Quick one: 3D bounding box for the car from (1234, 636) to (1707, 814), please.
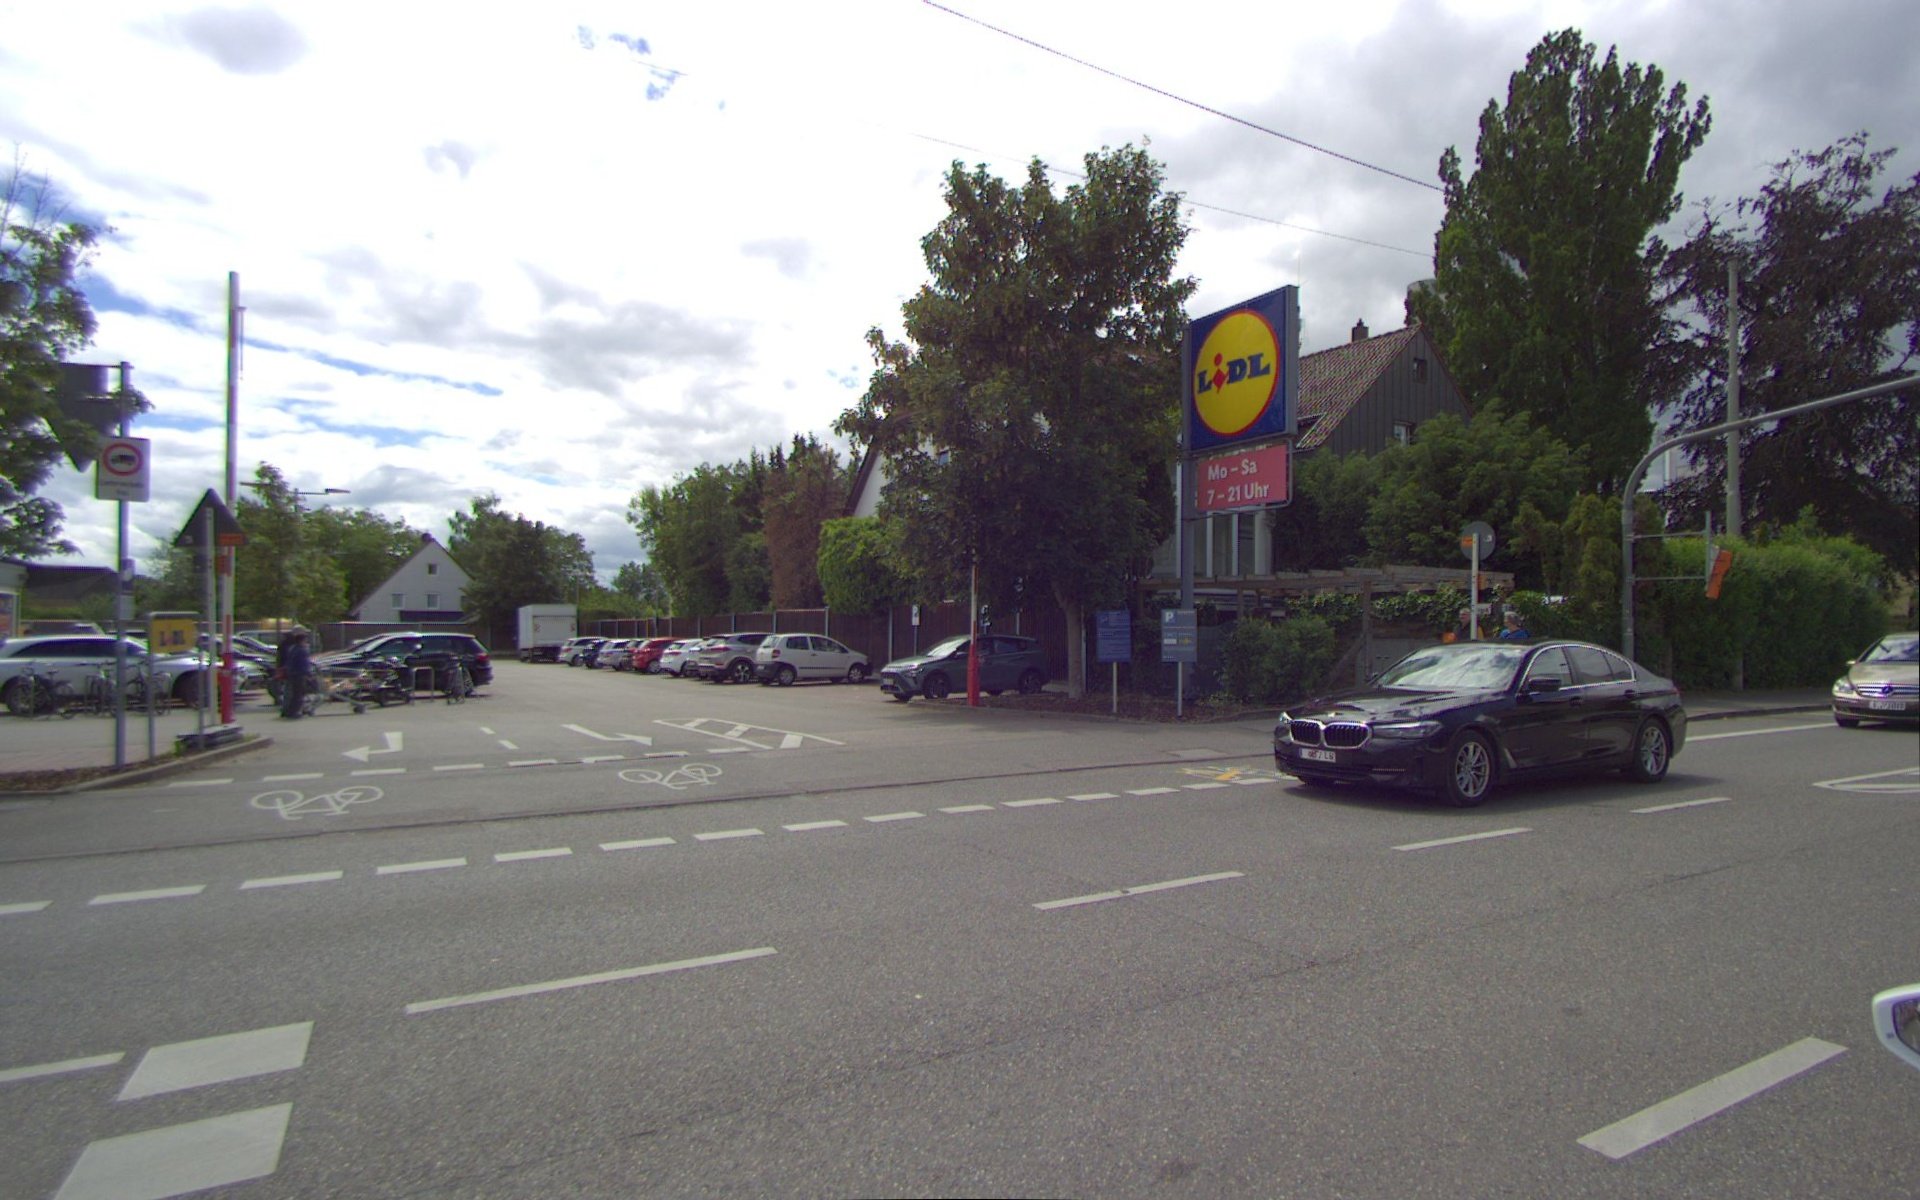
[{"bbox_3d":[5.218,1.102,10.118,4.755,1.418,1.985,1,-4,-31],"label":"car"}]

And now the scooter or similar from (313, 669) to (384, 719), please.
[{"bbox_3d":[-12.422,1.891,20.412,1.216,0.956,0.650,1,-2,-33],"label":"scooter or similar"}]

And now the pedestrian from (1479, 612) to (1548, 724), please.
[{"bbox_3d":[9.546,1.155,17.319,0.882,1.879,0.678,1,-2,-30],"label":"pedestrian"}]

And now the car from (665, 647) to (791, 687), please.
[{"bbox_3d":[-8.209,2.346,35.621,3.959,1.305,1.981,2,-3,-34],"label":"car"}]

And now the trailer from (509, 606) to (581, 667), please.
[{"bbox_3d":[-25.821,2.292,62.385,3.318,3.532,6.128,1,-3,-31],"label":"trailer"}]

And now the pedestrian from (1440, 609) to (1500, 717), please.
[{"bbox_3d":[9.139,1.114,18.021,0.698,1.879,0.678,1,-2,-30],"label":"pedestrian"}]

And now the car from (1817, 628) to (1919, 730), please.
[{"bbox_3d":[16.552,1.267,17.021,4.350,1.576,1.741,1,-2,-30],"label":"car"}]

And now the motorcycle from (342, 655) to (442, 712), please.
[{"bbox_3d":[-12.884,1.873,22.856,0.844,1.208,1.957,-1,-2,14],"label":"motorcycle"}]

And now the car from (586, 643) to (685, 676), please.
[{"bbox_3d":[-14.918,2.710,46.280,3.959,1.416,1.981,2,-3,-34],"label":"car"}]

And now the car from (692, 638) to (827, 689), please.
[{"bbox_3d":[-6.604,2.054,33.215,3.959,1.572,1.981,1,-3,-34],"label":"car"}]

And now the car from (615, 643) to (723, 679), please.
[{"bbox_3d":[-12.201,2.514,42.136,3.959,1.416,1.981,2,-3,-34],"label":"car"}]

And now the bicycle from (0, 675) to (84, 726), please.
[{"bbox_3d":[-18.158,1.970,19.831,1.847,0.969,0.349,-1,-2,17],"label":"bicycle"}]

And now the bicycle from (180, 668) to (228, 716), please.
[{"bbox_3d":[-16.343,1.967,21.696,1.855,0.969,0.347,-2,-2,38],"label":"bicycle"}]

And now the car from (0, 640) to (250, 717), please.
[{"bbox_3d":[-18.898,1.699,22.568,4.620,1.593,1.983,2,-2,-32],"label":"car"}]

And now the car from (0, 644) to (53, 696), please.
[{"bbox_3d":[-33.378,2.386,34.946,1.978,1.706,3.965,2,-2,-32],"label":"car"}]

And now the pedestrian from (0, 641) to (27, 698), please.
[{"bbox_3d":[-27.467,2.001,29.032,0.600,1.638,0.501,1,-2,-31],"label":"pedestrian"}]

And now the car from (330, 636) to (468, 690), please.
[{"bbox_3d":[-19.022,2.098,34.167,3.953,1.718,1.984,1,-2,-31],"label":"car"}]

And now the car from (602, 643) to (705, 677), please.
[{"bbox_3d":[-13.426,2.605,44.037,3.959,1.416,1.981,2,-3,-34],"label":"car"}]

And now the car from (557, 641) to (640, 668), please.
[{"bbox_3d":[-19.816,2.984,55.098,3.959,1.416,1.981,2,-3,-34],"label":"car"}]

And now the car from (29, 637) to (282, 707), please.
[{"bbox_3d":[-19.705,1.731,24.937,4.620,1.593,1.983,2,-2,-32],"label":"car"}]

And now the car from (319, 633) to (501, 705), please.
[{"bbox_3d":[-14.118,1.713,25.923,3.953,1.718,1.984,1,-2,-31],"label":"car"}]

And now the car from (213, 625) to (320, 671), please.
[{"bbox_3d":[-37.792,2.630,54.906,4.646,2.426,1.983,2,-2,-32],"label":"car"}]

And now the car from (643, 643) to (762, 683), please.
[{"bbox_3d":[-9.765,2.341,38.130,3.959,1.416,1.981,2,-3,-34],"label":"car"}]

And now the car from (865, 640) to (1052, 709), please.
[{"bbox_3d":[-0.020,1.680,23.518,3.953,1.472,1.984,1,-2,-31],"label":"car"}]

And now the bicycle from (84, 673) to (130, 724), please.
[{"bbox_3d":[-17.527,2.001,20.622,1.855,0.969,0.347,-2,-2,38],"label":"bicycle"}]

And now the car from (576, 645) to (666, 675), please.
[{"bbox_3d":[-17.056,2.997,50.581,3.959,1.416,1.981,2,-3,-34],"label":"car"}]

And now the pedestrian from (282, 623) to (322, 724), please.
[{"bbox_3d":[-12.521,1.379,19.132,0.605,1.884,0.418,1,-2,-33],"label":"pedestrian"}]

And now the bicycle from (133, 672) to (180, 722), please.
[{"bbox_3d":[-16.931,2.020,21.157,1.855,0.969,0.347,-2,-2,38],"label":"bicycle"}]

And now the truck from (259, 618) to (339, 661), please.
[{"bbox_3d":[-43.880,2.623,66.778,4.265,2.807,1.983,2,-2,-31],"label":"truck"}]

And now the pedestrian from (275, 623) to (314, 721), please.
[{"bbox_3d":[-13.061,1.407,19.720,0.605,1.884,0.418,1,-2,-33],"label":"pedestrian"}]

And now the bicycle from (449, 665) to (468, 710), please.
[{"bbox_3d":[-11.704,2.027,23.471,0.309,0.969,1.647,1,-2,-24],"label":"bicycle"}]

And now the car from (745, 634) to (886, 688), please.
[{"bbox_3d":[-4.505,1.878,31.517,3.959,1.572,1.981,1,-3,-34],"label":"car"}]
